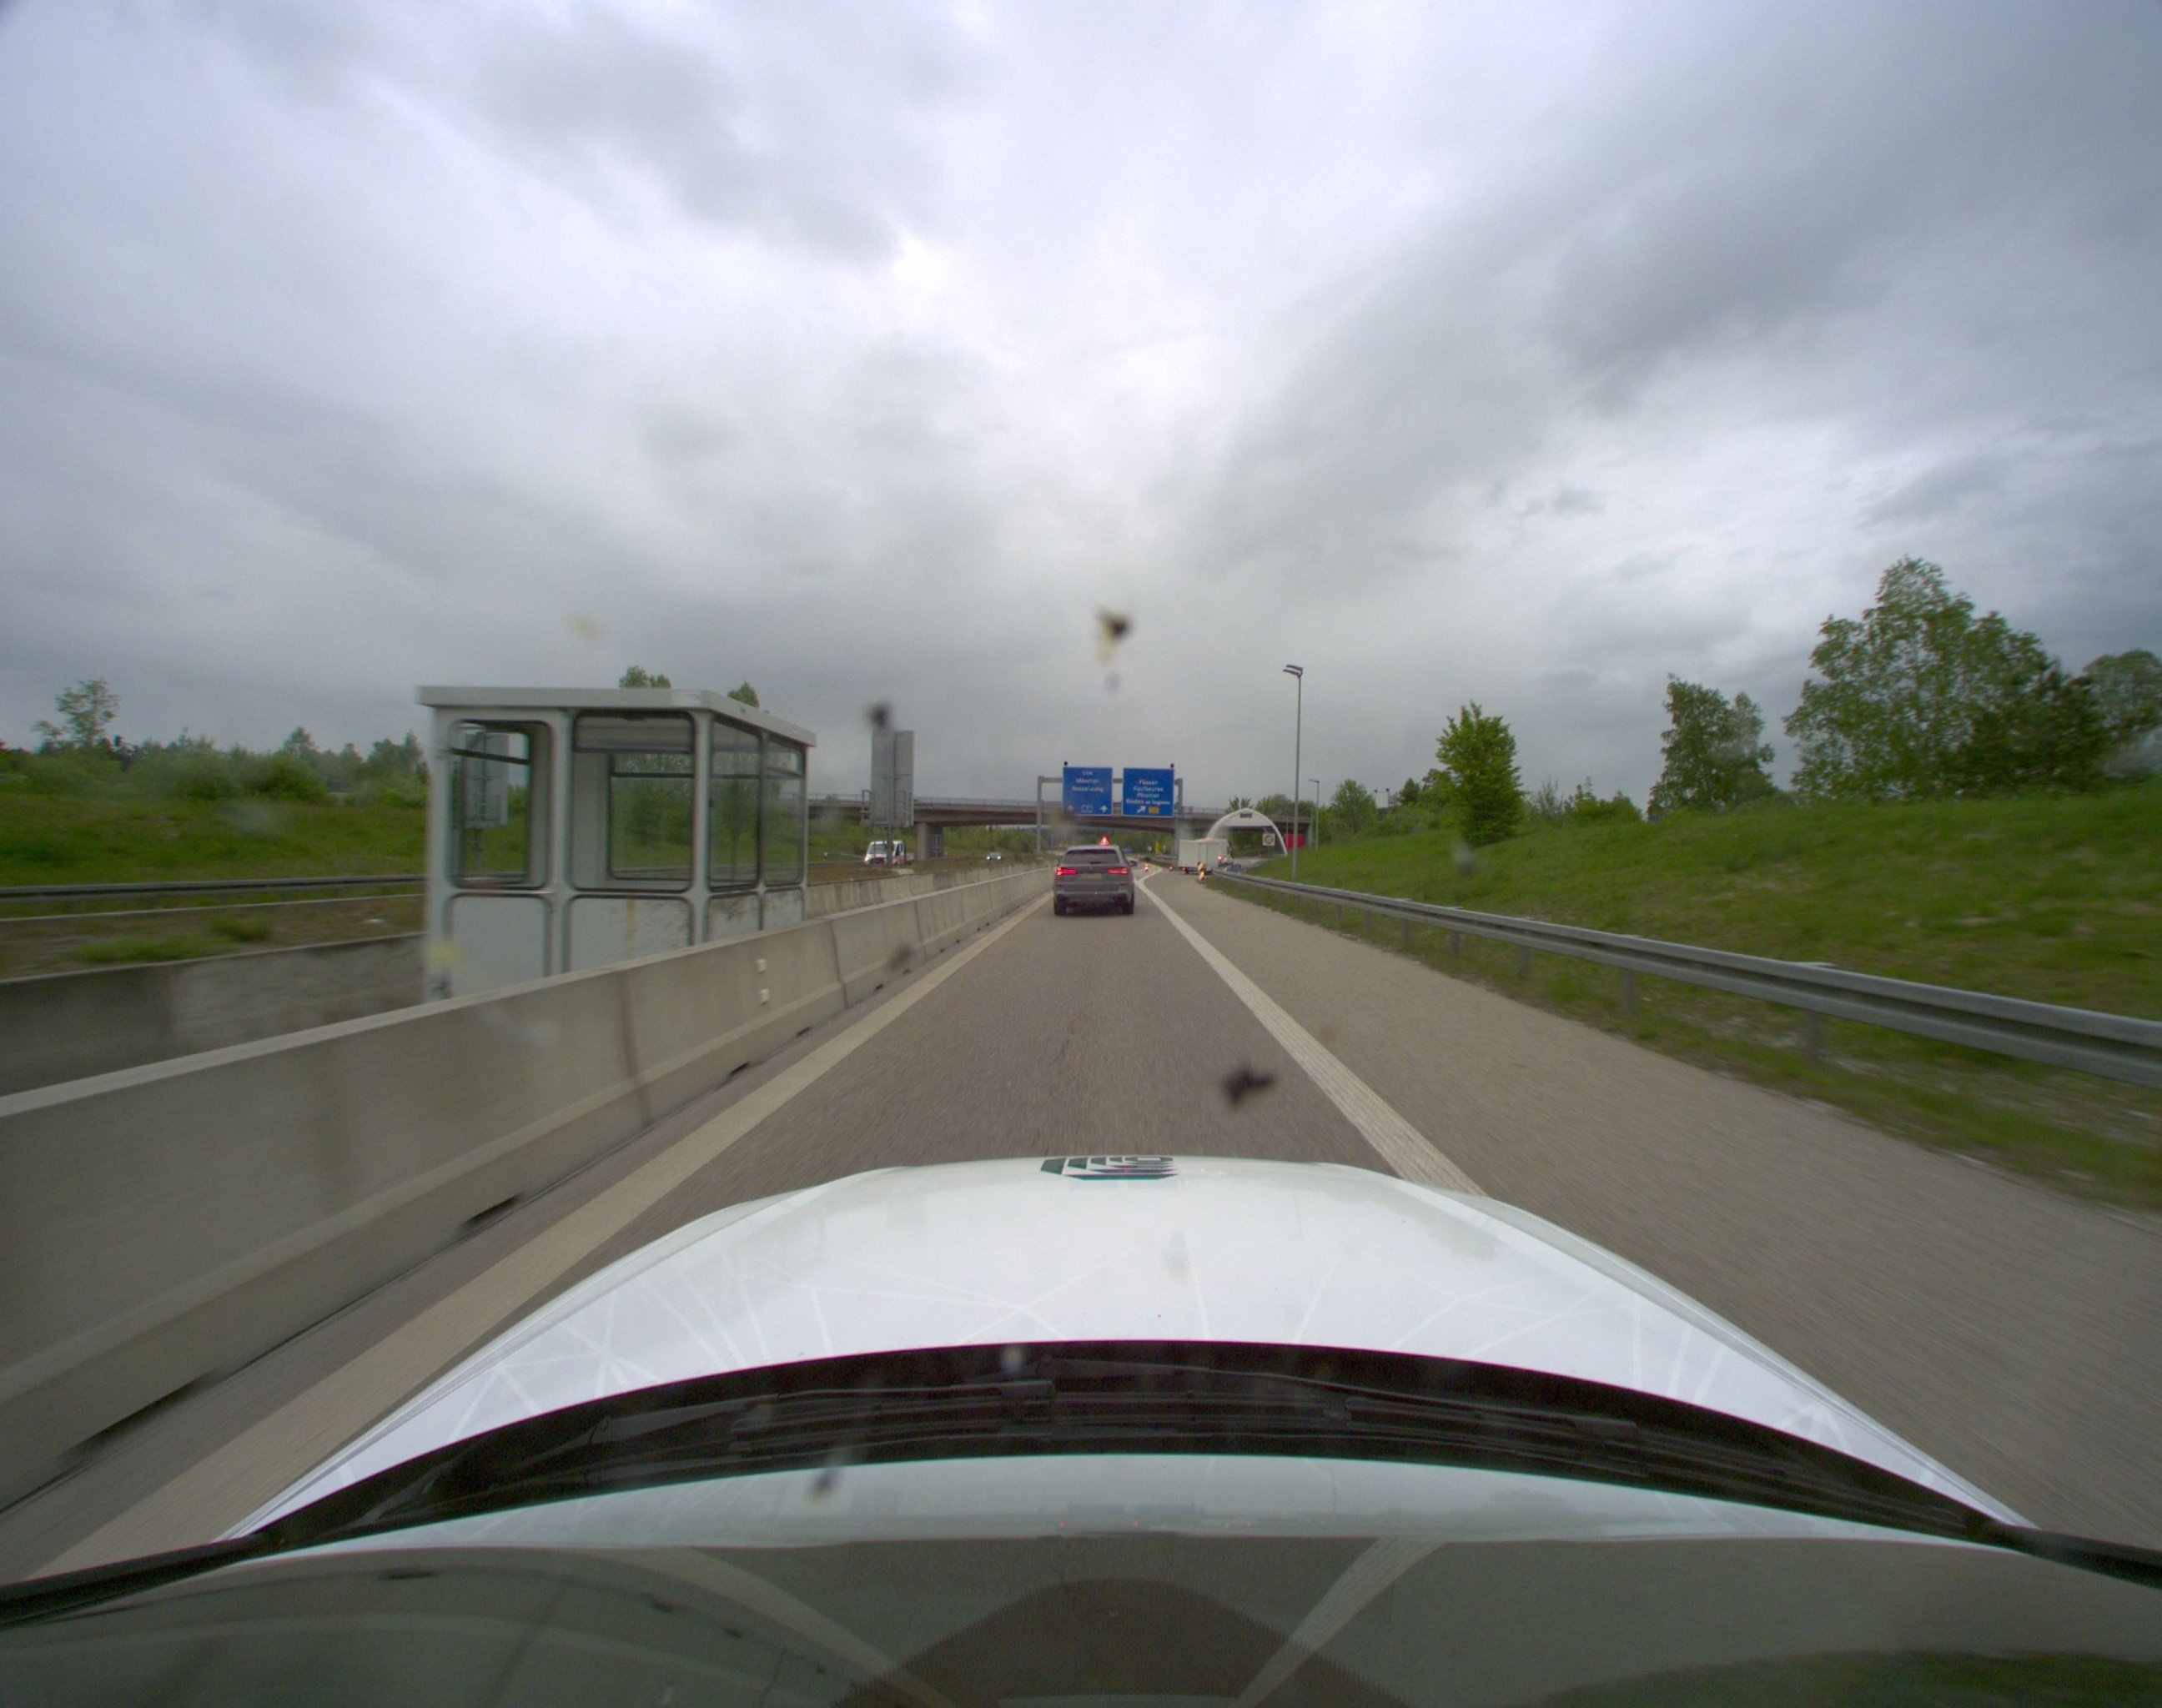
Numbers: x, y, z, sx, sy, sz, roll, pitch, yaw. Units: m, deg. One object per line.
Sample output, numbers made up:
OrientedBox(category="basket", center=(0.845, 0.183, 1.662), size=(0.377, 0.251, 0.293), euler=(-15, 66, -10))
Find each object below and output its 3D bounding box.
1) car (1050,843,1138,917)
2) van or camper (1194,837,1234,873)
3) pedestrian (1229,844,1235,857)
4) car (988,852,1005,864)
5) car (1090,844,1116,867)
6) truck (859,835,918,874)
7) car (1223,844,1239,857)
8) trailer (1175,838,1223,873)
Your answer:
OrientedBox(category="car", center=(0.440, 0.608, 21.244), size=(1.984, 1.719, 4.006), euler=(-1, 0, 5))
OrientedBox(category="van or camper", center=(10.909, 0.106, 66.587), size=(2.139, 2.763, 5.900), euler=(-1, 0, 19))
OrientedBox(category="pedestrian", center=(22.765, -0.596, 122.926), size=(0.716, 1.945, 0.691), euler=(-1, 0, 6))
OrientedBox(category="car", center=(-10.778, 0.442, 103.754), size=(1.601, 1.500, 3.839), euler=(0, 0, 2))
OrientedBox(category="car", center=(2.006, 0.059, 74.747), size=(2.278, 2.013, 5.051), euler=(-1, 1, 1))
OrientedBox(category="truck", center=(-12.918, 0.031, 55.091), size=(2.348, 2.479, 5.990), euler=(0, 0, 1))
OrientedBox(category="car", center=(21.966, -0.512, 119.694), size=(1.983, 1.772, 3.772), euler=(-1, 0, 6))
OrientedBox(category="trailer", center=(8.851, 0.136, 60.476), size=(2.260, 2.430, 6.850), euler=(-1, 0, 19))
